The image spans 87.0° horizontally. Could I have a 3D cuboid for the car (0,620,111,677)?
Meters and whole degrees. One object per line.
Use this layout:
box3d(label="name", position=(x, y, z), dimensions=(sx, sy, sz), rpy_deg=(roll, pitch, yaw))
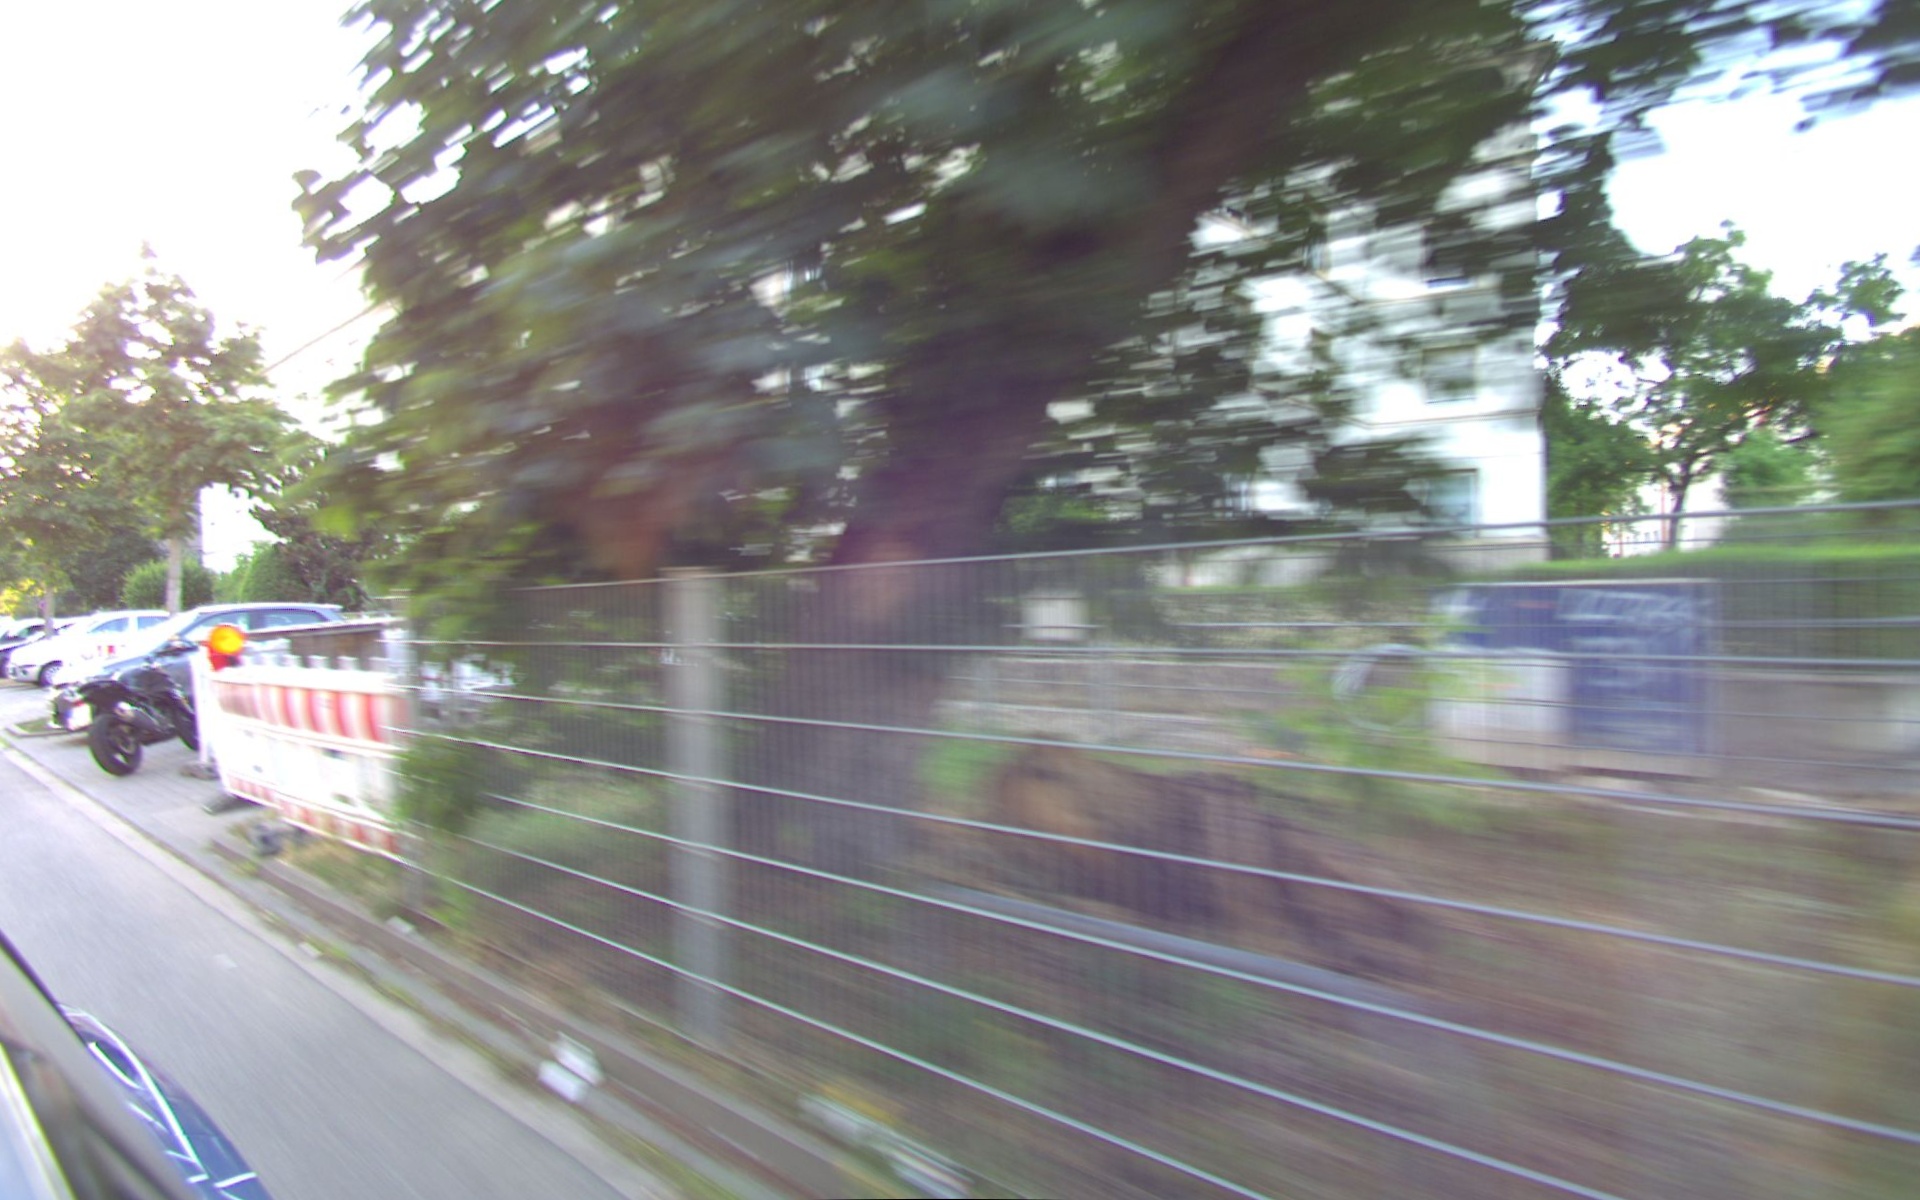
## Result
box3d(label="car", position=(-27.145, 1.418, 29.362), dimensions=(1.728, 1.456, 3.638), rpy_deg=(-1, 2, 43))

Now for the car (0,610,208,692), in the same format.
box3d(label="car", position=(-19.665, 1.104, 23.258), dimensions=(1.725, 1.578, 3.444), rpy_deg=(-1, 2, 36))

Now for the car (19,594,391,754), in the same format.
box3d(label="car", position=(-9.822, 0.856, 13.372), dimensions=(1.692, 1.568, 3.587), rpy_deg=(-2, 3, 41))

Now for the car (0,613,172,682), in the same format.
box3d(label="car", position=(-22.744, 1.178, 25.811), dimensions=(1.728, 1.500, 3.934), rpy_deg=(-1, 2, 43))

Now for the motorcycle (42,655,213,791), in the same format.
box3d(label="motorcycle", position=(-8.204, 1.150, 10.094), dimensions=(0.530, 1.028, 2.218), rpy_deg=(-4, 2, -20))

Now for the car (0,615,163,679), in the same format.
box3d(label="car", position=(-24.680, 1.253, 28.181), dimensions=(1.728, 1.495, 3.638), rpy_deg=(-1, 2, 43))

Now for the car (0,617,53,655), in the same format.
box3d(label="car", position=(-40.974, 1.602, 42.761), dimensions=(1.726, 1.495, 3.664), rpy_deg=(-3, 1, 39))
